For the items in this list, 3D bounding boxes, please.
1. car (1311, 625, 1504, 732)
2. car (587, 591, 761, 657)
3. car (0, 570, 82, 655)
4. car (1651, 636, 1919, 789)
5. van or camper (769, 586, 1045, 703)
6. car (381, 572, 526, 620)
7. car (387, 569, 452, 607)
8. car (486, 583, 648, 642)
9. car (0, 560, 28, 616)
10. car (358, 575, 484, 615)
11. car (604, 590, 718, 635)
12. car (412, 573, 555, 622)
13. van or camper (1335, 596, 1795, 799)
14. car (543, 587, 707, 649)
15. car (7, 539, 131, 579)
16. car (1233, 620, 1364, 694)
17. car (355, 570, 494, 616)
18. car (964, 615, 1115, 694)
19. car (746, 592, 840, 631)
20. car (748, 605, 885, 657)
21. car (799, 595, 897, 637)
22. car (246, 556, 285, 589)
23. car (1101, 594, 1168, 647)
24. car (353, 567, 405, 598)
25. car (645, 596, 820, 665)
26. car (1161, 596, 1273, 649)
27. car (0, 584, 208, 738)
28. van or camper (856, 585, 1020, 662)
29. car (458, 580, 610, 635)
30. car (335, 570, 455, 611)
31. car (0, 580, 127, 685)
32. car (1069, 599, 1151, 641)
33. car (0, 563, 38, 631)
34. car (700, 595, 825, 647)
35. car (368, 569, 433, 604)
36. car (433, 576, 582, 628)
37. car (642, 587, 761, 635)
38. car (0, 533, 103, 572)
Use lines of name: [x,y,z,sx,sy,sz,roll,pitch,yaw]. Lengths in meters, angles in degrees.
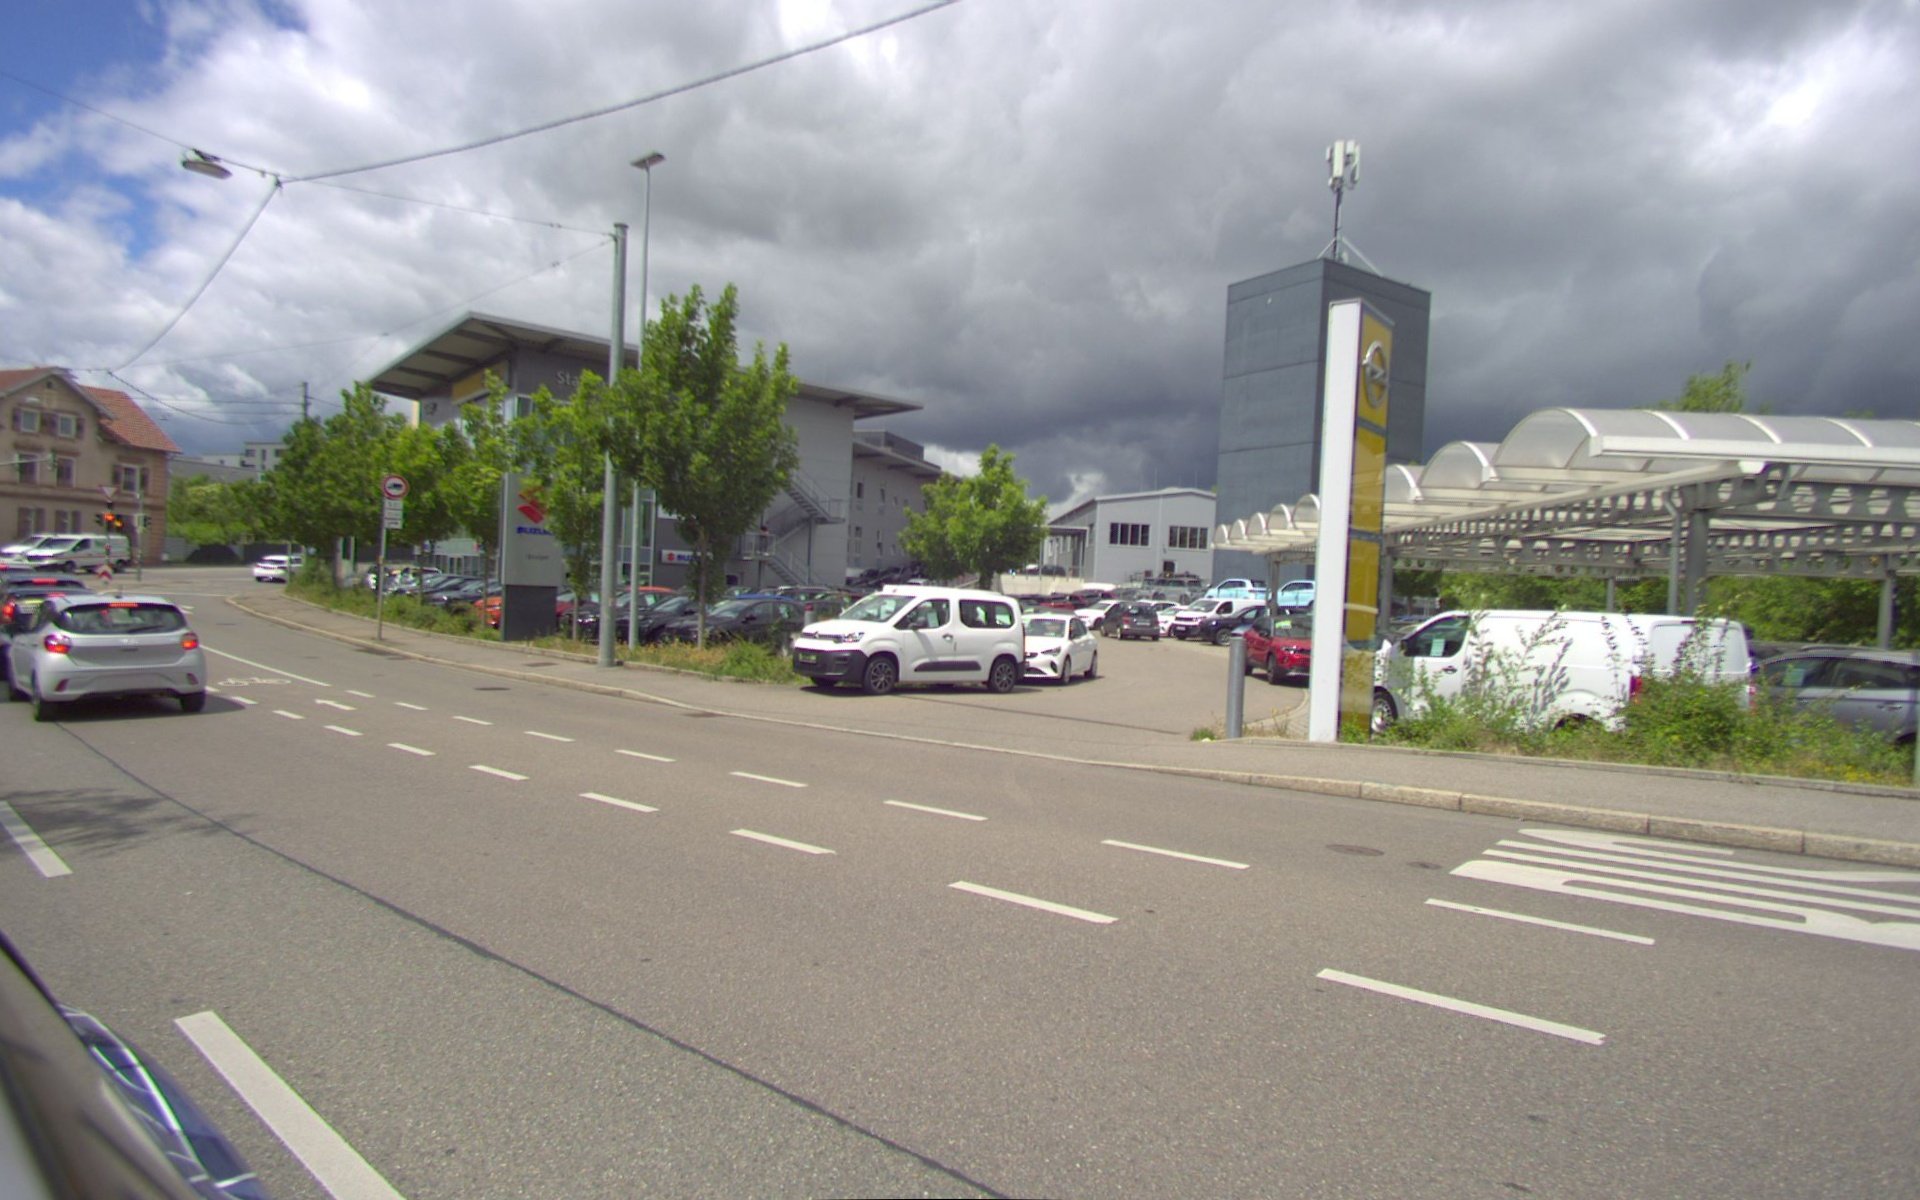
car: [7.715,1.279,17.898,1.795,1.477,3.995,2,1,4]
car: [-7.027,0.603,25.135,1.772,1.472,3.794,2,-1,40]
car: [-20.593,0.201,22.261,1.699,1.593,4.255,-1,3,-44]
car: [10.860,1.303,11.993,1.786,1.477,4.014,2,1,-24]
van or camper: [-0.815,0.728,17.771,4.613,1.763,2.002,2,0,-44]
car: [-18.018,-0.120,36.109,1.813,1.509,4.232,2,-1,43]
car: [-25.179,-0.573,47.102,1.918,1.574,4.003,0,3,-40]
car: [-10.975,0.376,28.428,1.812,1.509,3.808,2,-1,41]
car: [-30.600,-0.409,31.884,1.699,1.593,4.004,-1,3,-44]
car: [-21.305,-0.189,40.102,4.019,1.405,1.814,3,-1,-44]
car: [-9.882,0.419,33.552,1.517,1.384,3.280,2,-1,42]
car: [-16.233,-0.058,34.584,1.813,1.509,4.011,2,-1,43]
van or camper: [7.156,0.984,12.788,1.956,1.978,4.973,1,1,-15]
car: [-8.886,0.486,27.063,1.811,1.509,3.775,2,-1,39]
car: [-46.553,-2.187,53.042,1.973,2.007,4.988,1,3,2]
car: [7.795,1.267,23.699,1.793,1.477,3.777,2,0,1]
car: [-19.815,-0.248,37.557,1.813,1.509,4.161,2,-1,43]
car: [1.868,1.096,22.187,2.000,1.447,4.489,2,0,22]
car: [-6.342,0.454,38.666,1.517,1.384,3.280,2,-1,42]
car: [-3.815,0.831,27.284,1.545,1.263,3.426,2,-1,42]
car: [-3.934,0.580,35.875,1.517,1.384,3.280,2,-1,42]
car: [-38.885,-1.555,56.684,1.696,1.507,4.476,4,2,-35]
car: [7.422,0.834,43.474,1.970,1.962,4.004,1,3,-3]
car: [-31.112,-0.949,54.108,1.917,1.485,4.316,0,3,-37]
car: [-5.198,0.701,23.484,1.792,1.420,3.663,2,-1,36]
car: [11.403,0.947,44.807,4.754,2.028,2.007,-1,4,-31]
car: [-11.577,0.667,13.495,3.999,1.593,1.701,4,3,41]
van or camper: [-0.703,0.647,29.635,4.685,2.029,1.972,2,-1,42]
car: [-12.761,0.240,30.464,1.812,1.509,3.785,2,-1,42]
car: [-23.285,-0.376,41.786,3.940,1.509,1.814,3,-1,-44]
car: [-15.570,0.466,17.180,3.322,1.495,1.701,4,3,41]
car: [7.644,0.965,51.391,3.938,1.824,2.003,-2,5,-41]
car: [-25.375,-0.129,26.485,1.699,1.593,4.322,-1,3,-44]
car: [-5.681,0.620,29.369,1.517,1.384,3.280,2,-1,42]
car: [-28.076,-0.698,50.716,1.919,1.574,4.312,-1,3,-42]
car: [-14.469,0.081,32.505,1.812,1.509,3.938,2,-1,42]
car: [-8.066,0.356,31.745,1.517,1.384,3.280,2,-1,42]
car: [-50.993,-2.681,56.220,1.984,2.026,4.787,2,4,19]
